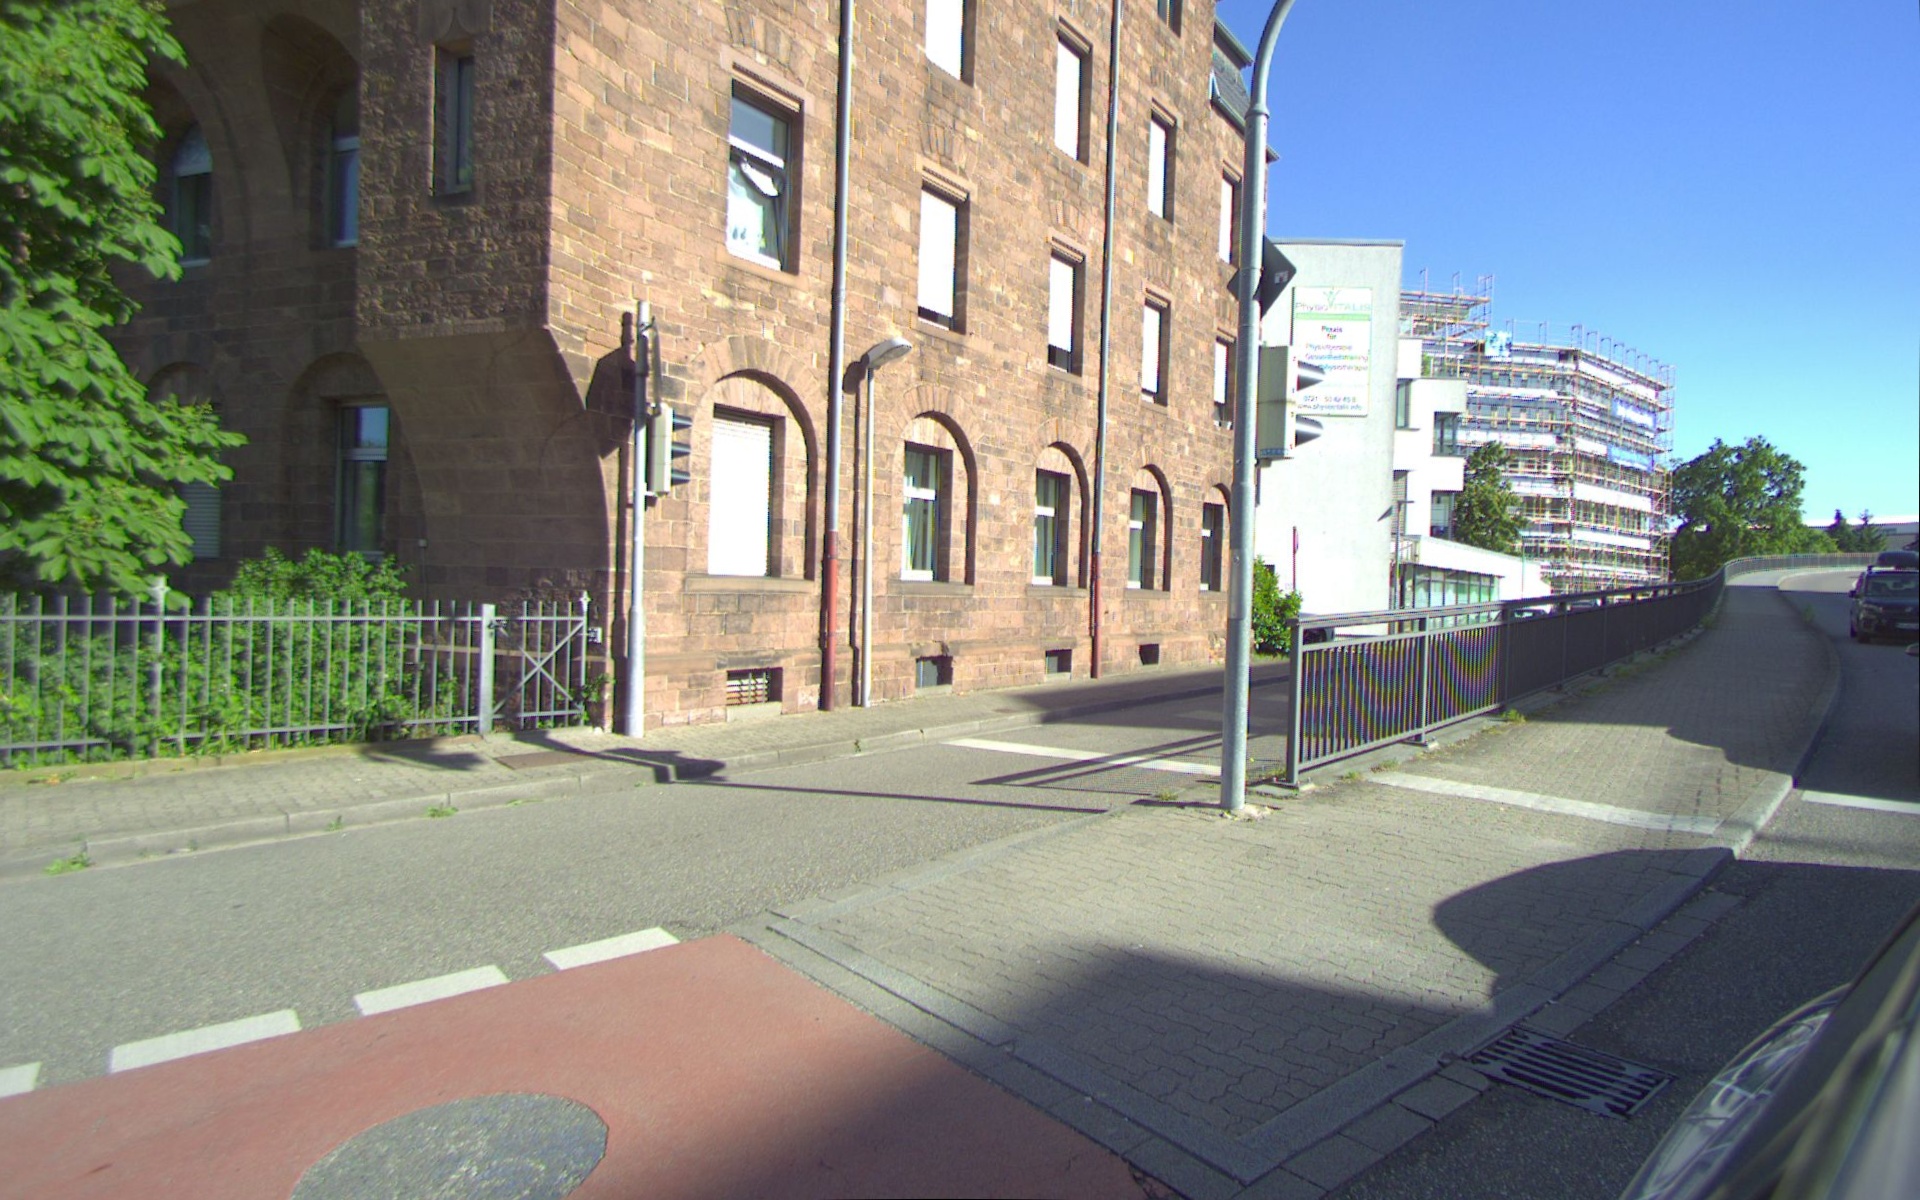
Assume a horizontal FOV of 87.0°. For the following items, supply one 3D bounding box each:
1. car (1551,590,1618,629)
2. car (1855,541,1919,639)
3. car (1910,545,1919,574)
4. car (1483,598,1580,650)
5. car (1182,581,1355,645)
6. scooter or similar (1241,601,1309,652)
[{"bbox_3d":[27.577,0.396,44.637,1.843,1.554,3.940,3,2,41],"label":"car"},{"bbox_3d":[23.759,-0.326,25.167,1.901,2.240,4.539,1,4,37],"label":"car"},{"bbox_3d":[71.108,-2.932,74.159,1.995,1.959,4.773,3,1,44],"label":"car"},{"bbox_3d":[19.109,0.745,33.749,1.844,1.448,4.611,1,3,42],"label":"car"},{"bbox_3d":[9.085,0.368,30.047,4.562,1.789,1.828,0,2,2],"label":"car"},{"bbox_3d":[7.893,0.653,25.364,1.453,1.234,0.775,-1,-1,35],"label":"scooter or similar"}]
